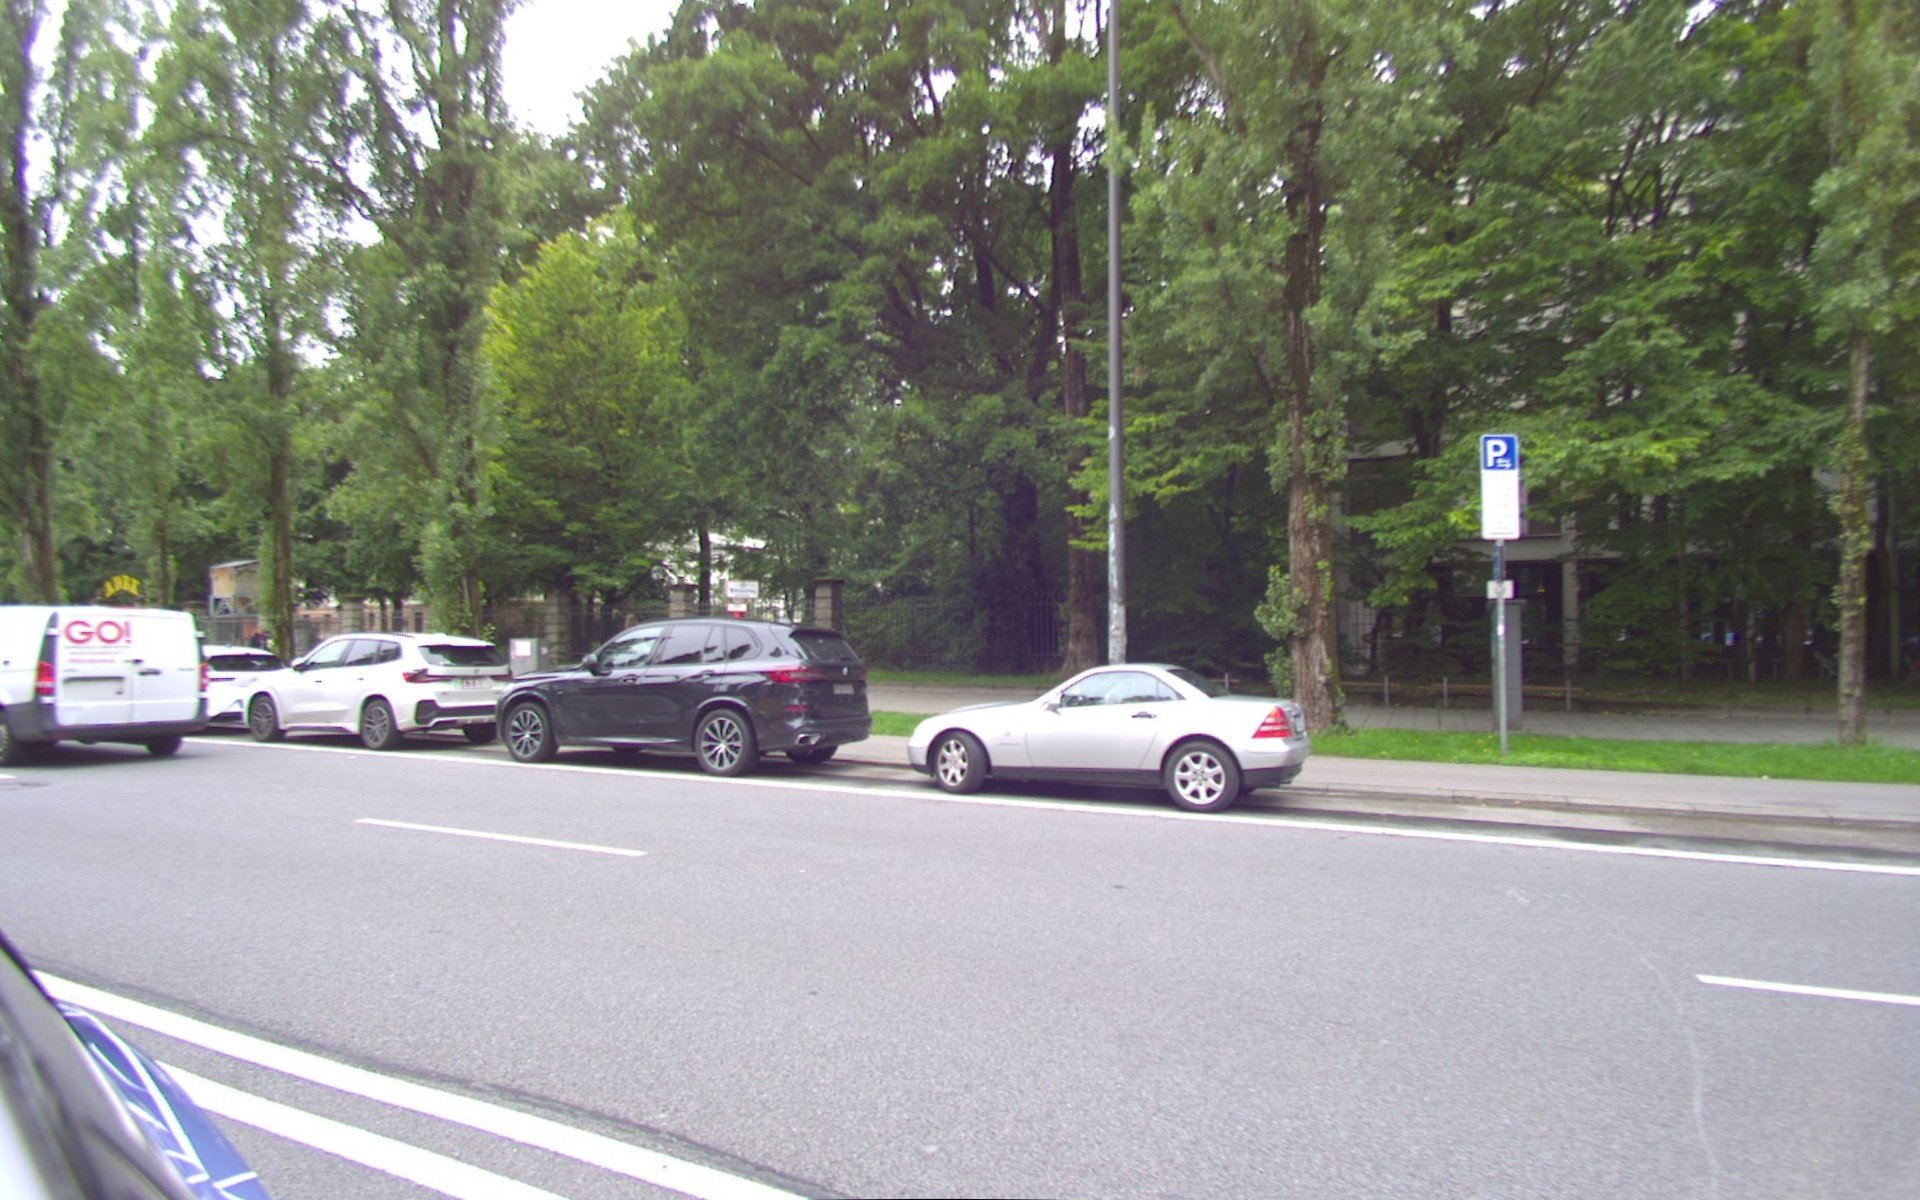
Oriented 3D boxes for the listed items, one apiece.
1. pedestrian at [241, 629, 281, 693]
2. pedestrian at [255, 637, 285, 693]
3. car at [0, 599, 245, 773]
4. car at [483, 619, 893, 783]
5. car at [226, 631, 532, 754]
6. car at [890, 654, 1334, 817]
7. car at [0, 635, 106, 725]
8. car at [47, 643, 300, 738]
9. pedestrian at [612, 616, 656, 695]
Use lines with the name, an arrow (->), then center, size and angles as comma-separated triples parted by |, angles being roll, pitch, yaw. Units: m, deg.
pedestrian -> -19.253, 1.666, 27.879 | 0.782, 1.733, 0.579 | -1, -1, 25
pedestrian -> -22.421, 2.099, 32.900 | 0.669, 1.761, 0.546 | -1, -1, 25
car -> -12.282, 1.048, 13.411 | 5.667, 1.906, 2.170 | -1, -3, 27
car -> -3.316, 1.149, 12.253 | 4.690, 1.671, 1.870 | -2, -4, 25
car -> -8.633, 1.306, 14.987 | 4.438, 1.601, 1.775 | -2, -4, 27
car -> 1.435, 1.195, 9.892 | 4.008, 1.315, 1.571 | -1, -3, 27
car -> -19.283, 1.530, 19.954 | 5.025, 1.621, 1.805 | -1, -4, 26
car -> -13.332, 1.461, 17.127 | 4.214, 1.433, 1.667 | -1, -3, 26
pedestrian -> -7.658, 1.291, 23.763 | 0.771, 1.829, 0.636 | -1, -2, 26
